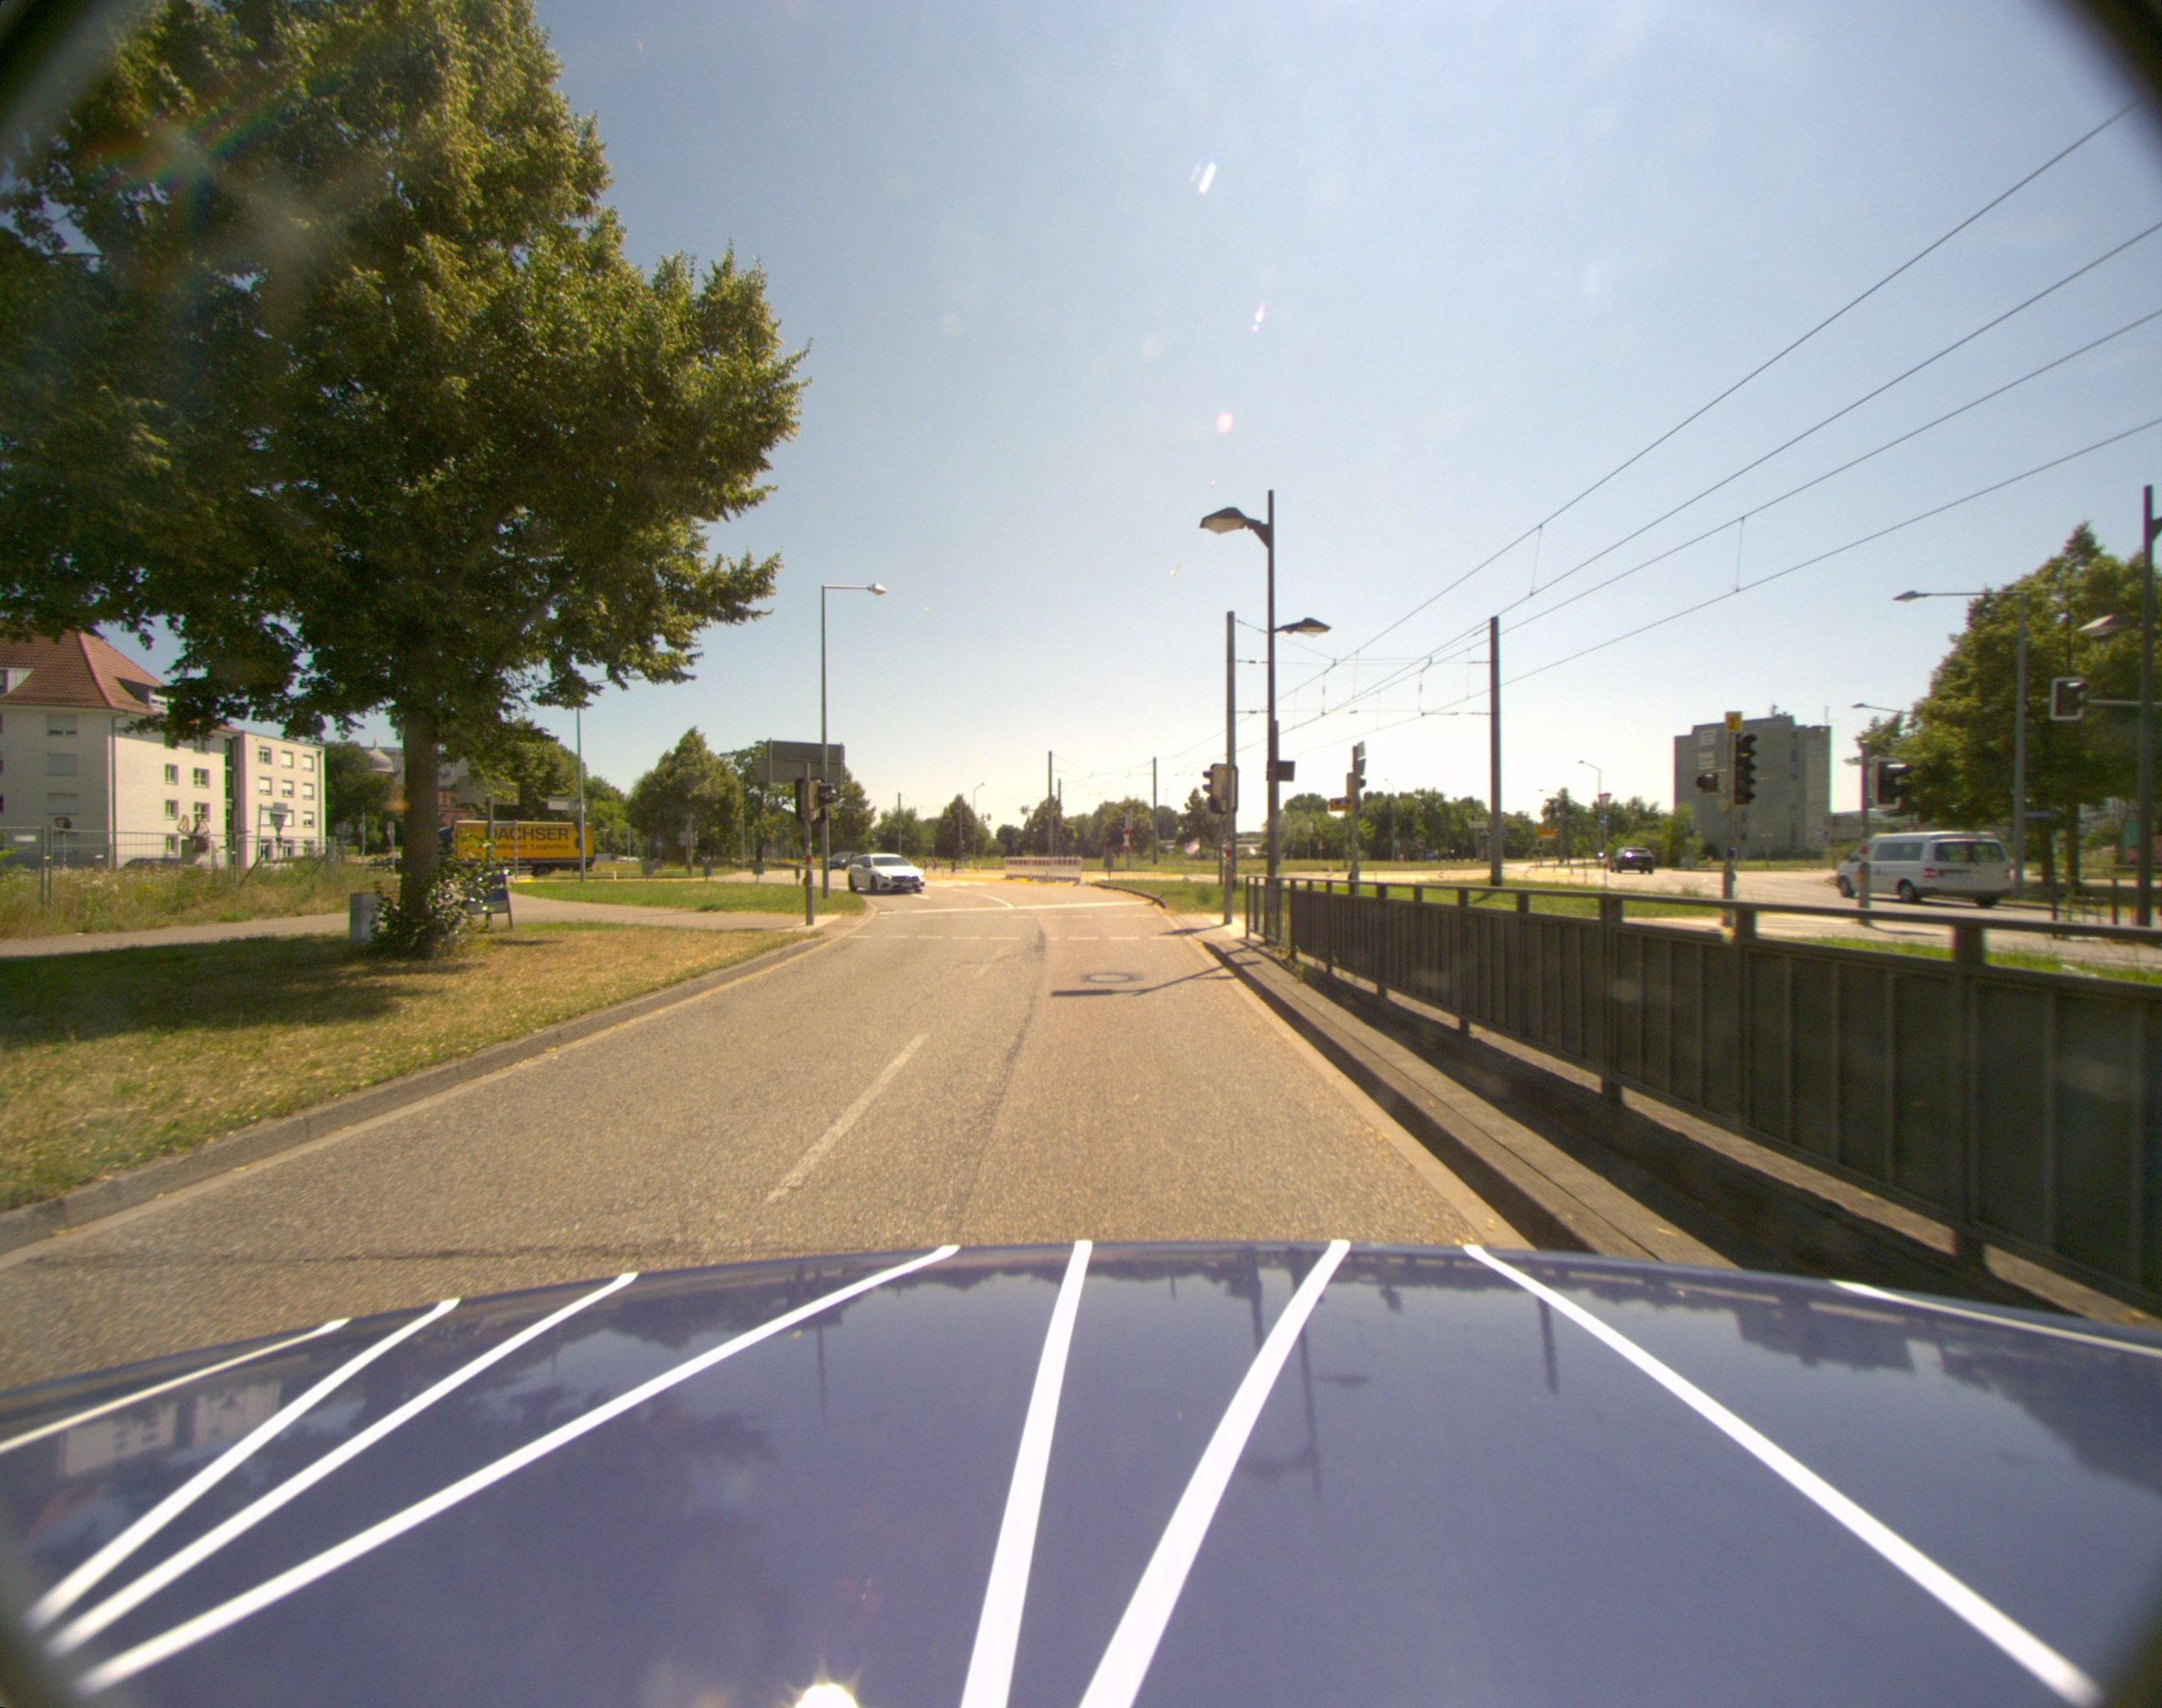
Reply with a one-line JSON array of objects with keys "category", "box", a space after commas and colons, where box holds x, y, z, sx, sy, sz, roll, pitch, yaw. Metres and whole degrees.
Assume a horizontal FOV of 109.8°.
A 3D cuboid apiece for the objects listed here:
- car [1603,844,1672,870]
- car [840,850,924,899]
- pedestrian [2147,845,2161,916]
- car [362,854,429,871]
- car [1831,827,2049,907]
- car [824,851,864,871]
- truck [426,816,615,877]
[{"category": "car", "box": [33.722, 0.139, 46.230, 1.995, 1.509, 5.846, 0, 1, 22]}, {"category": "car", "box": [-7.374, 0.698, 27.928, 1.784, 1.537, 3.952, -1, 2, -33]}, {"category": "pedestrian", "box": [26.359, 0.647, 18.347, 0.341, 1.729, 0.600, 0, 1, 0]}, {"category": "car", "box": [-57.325, 0.686, 63.585, 3.810, 1.319, 1.657, 0, 1, -17]}, {"category": "car", "box": [25.818, 0.354, 23.223, 1.995, 2.093, 5.551, 2, 0, 21]}, {"category": "car", "box": [-18.141, 0.526, 58.336, 1.979, 1.410, 3.998, 0, 1, -4]}, {"category": "truck", "box": [-36.431, -0.492, 49.753, 9.635, 3.638, 2.700, -1, 1, -43]}]
